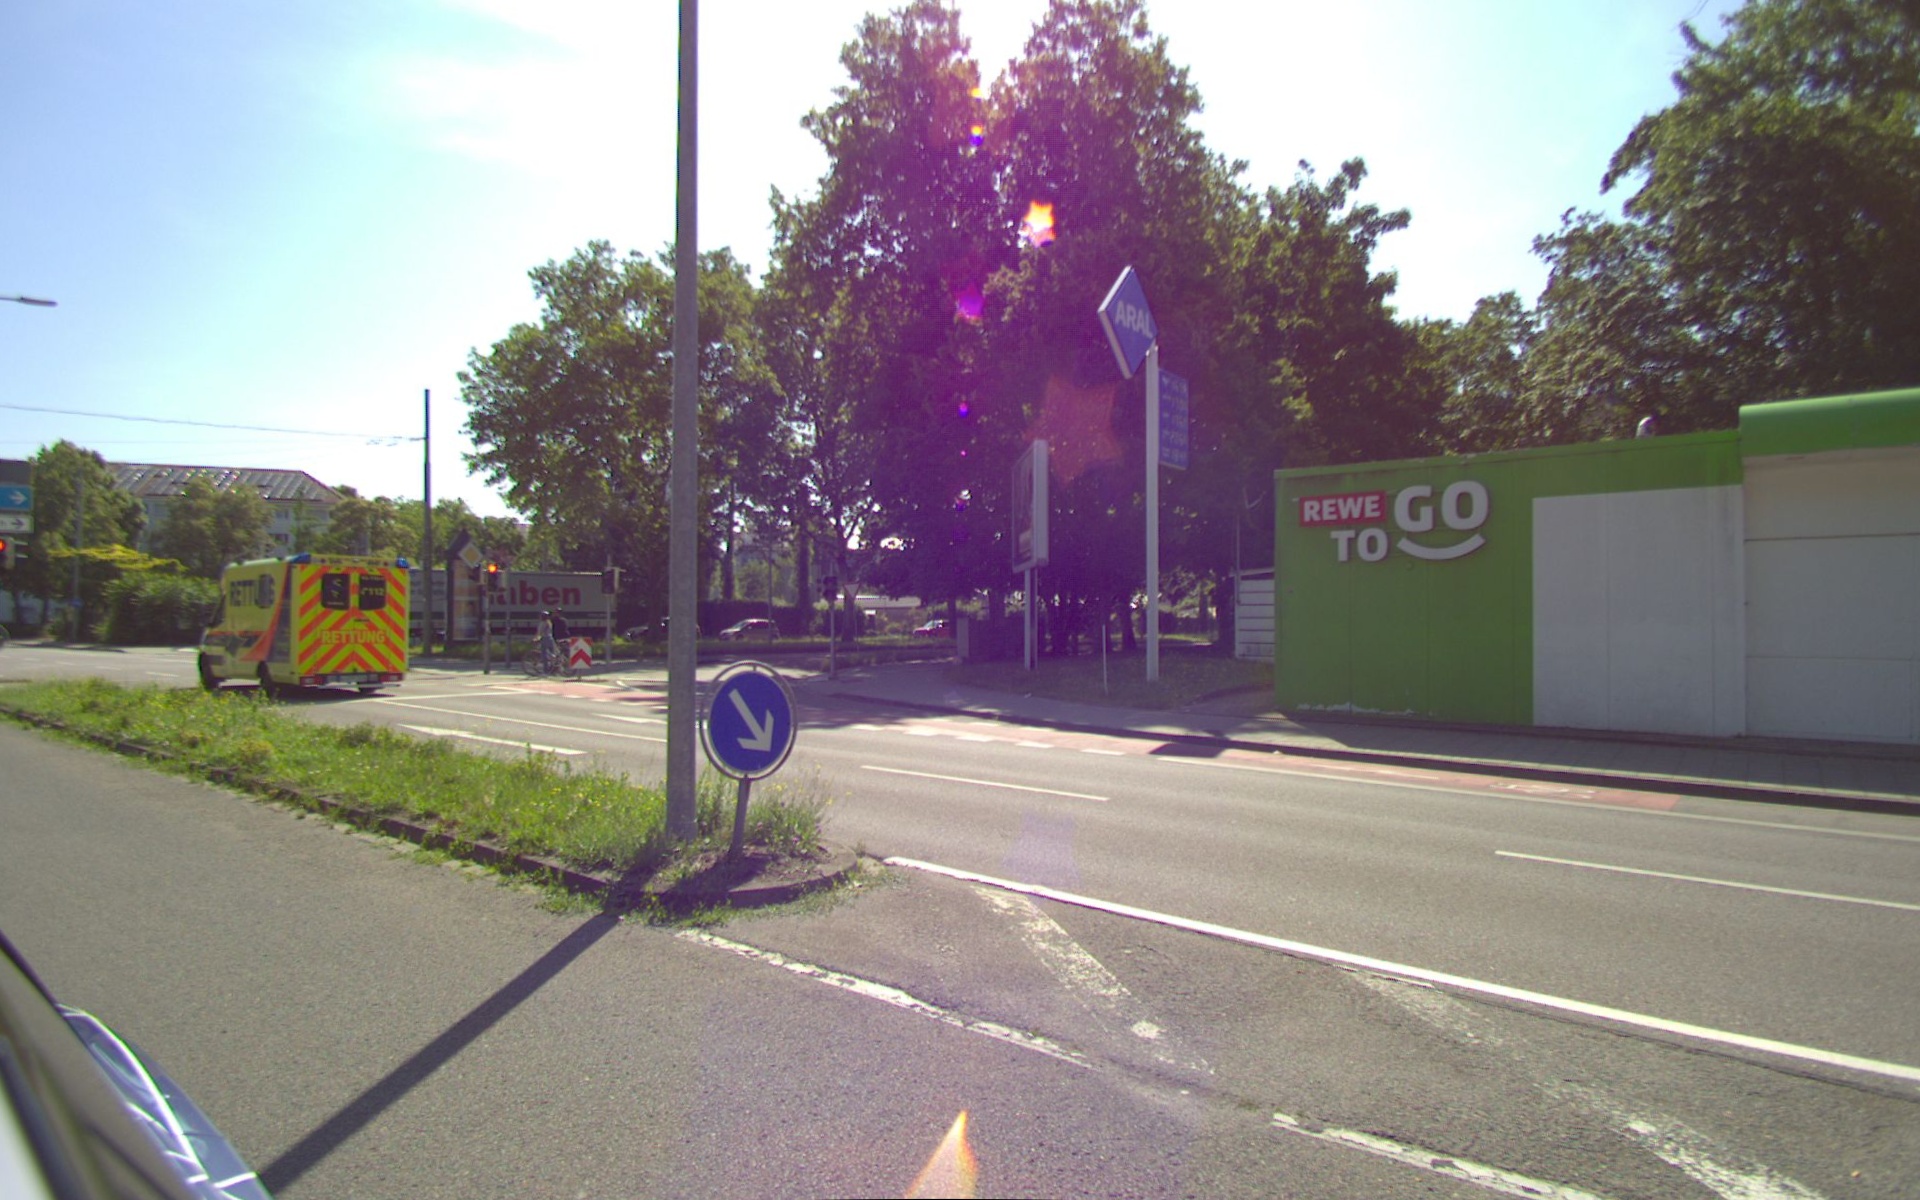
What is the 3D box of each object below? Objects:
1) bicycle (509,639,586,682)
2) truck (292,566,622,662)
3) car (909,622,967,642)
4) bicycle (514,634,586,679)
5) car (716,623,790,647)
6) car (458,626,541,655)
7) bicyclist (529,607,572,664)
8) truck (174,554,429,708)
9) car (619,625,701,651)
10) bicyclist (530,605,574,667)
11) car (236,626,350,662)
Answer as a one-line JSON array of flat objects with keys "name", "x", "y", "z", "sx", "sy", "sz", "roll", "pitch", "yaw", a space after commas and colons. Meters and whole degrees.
[{"name": "bicycle", "x": -10.760, "y": 1.561, "z": 26.399, "sx": 2.067, "sy": 1.066, "sz": 0.745, "roll": -1, "pitch": -2, "yaw": 30}, {"name": "truck", "x": -23.557, "y": 0.736, "z": 48.741, "sx": 2.855, "sy": 4.038, "sz": 14.097, "roll": -2, "pitch": -2, "yaw": 44}, {"name": "car", "x": -1.670, "y": 2.373, "z": 76.305, "sx": 4.306, "sy": 1.379, "sz": 1.758, "roll": 0, "pitch": -2, "yaw": -44}, {"name": "bicycle", "x": -11.499, "y": 1.565, "z": 28.346, "sx": 2.209, "sy": 1.184, "sz": 0.928, "roll": -1, "pitch": -2, "yaw": 40}, {"name": "car", "x": -13.087, "y": 2.224, "z": 64.184, "sx": 4.306, "sy": 1.379, "sz": 1.758, "roll": 0, "pitch": -2, "yaw": -44}, {"name": "car", "x": -24.225, "y": 2.126, "z": 53.300, "sx": 3.683, "sy": 1.444, "sz": 1.636, "roll": 0, "pitch": -2, "yaw": -44}, {"name": "bicyclist", "x": -10.632, "y": 0.916, "z": 26.293, "sx": 0.736, "sy": 1.431, "sz": 0.703, "roll": -3, "pitch": -2, "yaw": 30}, {"name": "truck", "x": -13.788, "y": 0.632, "z": 20.915, "sx": 7.352, "sy": 2.688, "sz": 2.307, "roll": -1, "pitch": -2, "yaw": 40}, {"name": "car", "x": -17.635, "y": 2.234, "z": 59.643, "sx": 4.306, "sy": 1.379, "sz": 1.758, "roll": 0, "pitch": -2, "yaw": -44}, {"name": "bicyclist", "x": -11.392, "y": 1.005, "z": 28.258, "sx": 0.826, "sy": 1.687, "sz": 0.827, "roll": -3, "pitch": -2, "yaw": 38}, {"name": "car", "x": -31.162, "y": 2.031, "z": 47.430, "sx": 4.322, "sy": 1.522, "sz": 1.762, "roll": -1, "pitch": -2, "yaw": -29}]
